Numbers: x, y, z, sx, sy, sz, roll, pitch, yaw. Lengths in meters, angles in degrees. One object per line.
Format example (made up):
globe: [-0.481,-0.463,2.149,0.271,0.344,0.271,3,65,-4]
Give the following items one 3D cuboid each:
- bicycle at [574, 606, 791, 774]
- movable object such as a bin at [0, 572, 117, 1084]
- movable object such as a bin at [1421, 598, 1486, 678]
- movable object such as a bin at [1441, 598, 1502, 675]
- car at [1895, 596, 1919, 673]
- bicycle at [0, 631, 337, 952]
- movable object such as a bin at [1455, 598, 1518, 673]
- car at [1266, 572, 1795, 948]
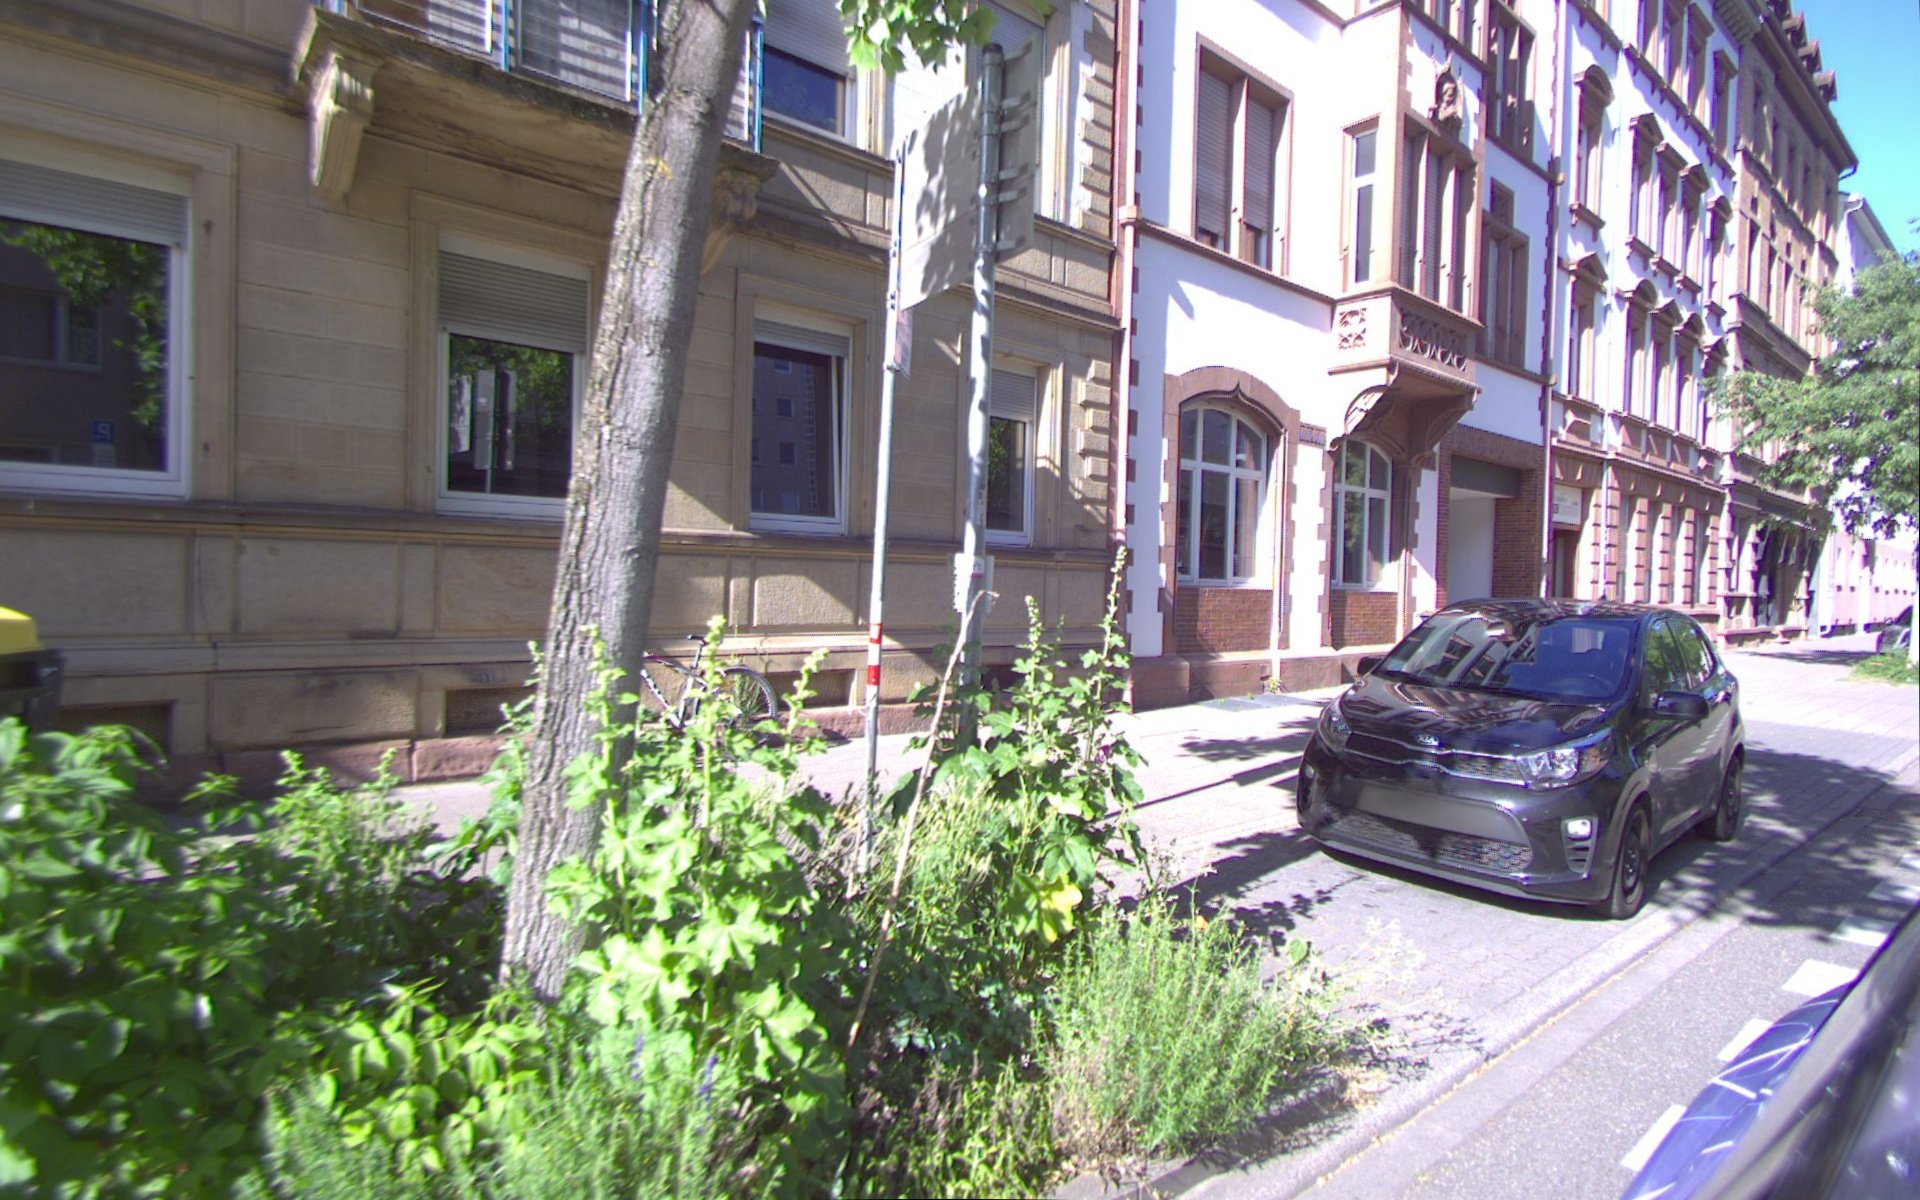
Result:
bicycle: [-1.936,0.588,7.169,1.403,1.043,0.433,0,4,-41]
movable object such as a bin: [-3.209,0.605,2.564,1.250,1.364,1.106,1,1,8]
movable object such as a bin: [7.069,0.527,14.499,0.621,1.082,0.639,0,1,-40]
movable object such as a bin: [7.518,0.526,14.872,0.512,1.082,0.639,0,1,-40]
car: [20.332,0.672,20.397,4.232,1.469,1.742,0,2,-41]
bicycle: [-3.736,0.736,4.041,2.084,1.163,0.538,0,1,-36]
movable object such as a bin: [7.930,0.520,15.240,0.628,1.082,0.639,0,1,-40]
car: [3.527,0.645,6.010,3.519,1.493,1.639,0,4,-42]
